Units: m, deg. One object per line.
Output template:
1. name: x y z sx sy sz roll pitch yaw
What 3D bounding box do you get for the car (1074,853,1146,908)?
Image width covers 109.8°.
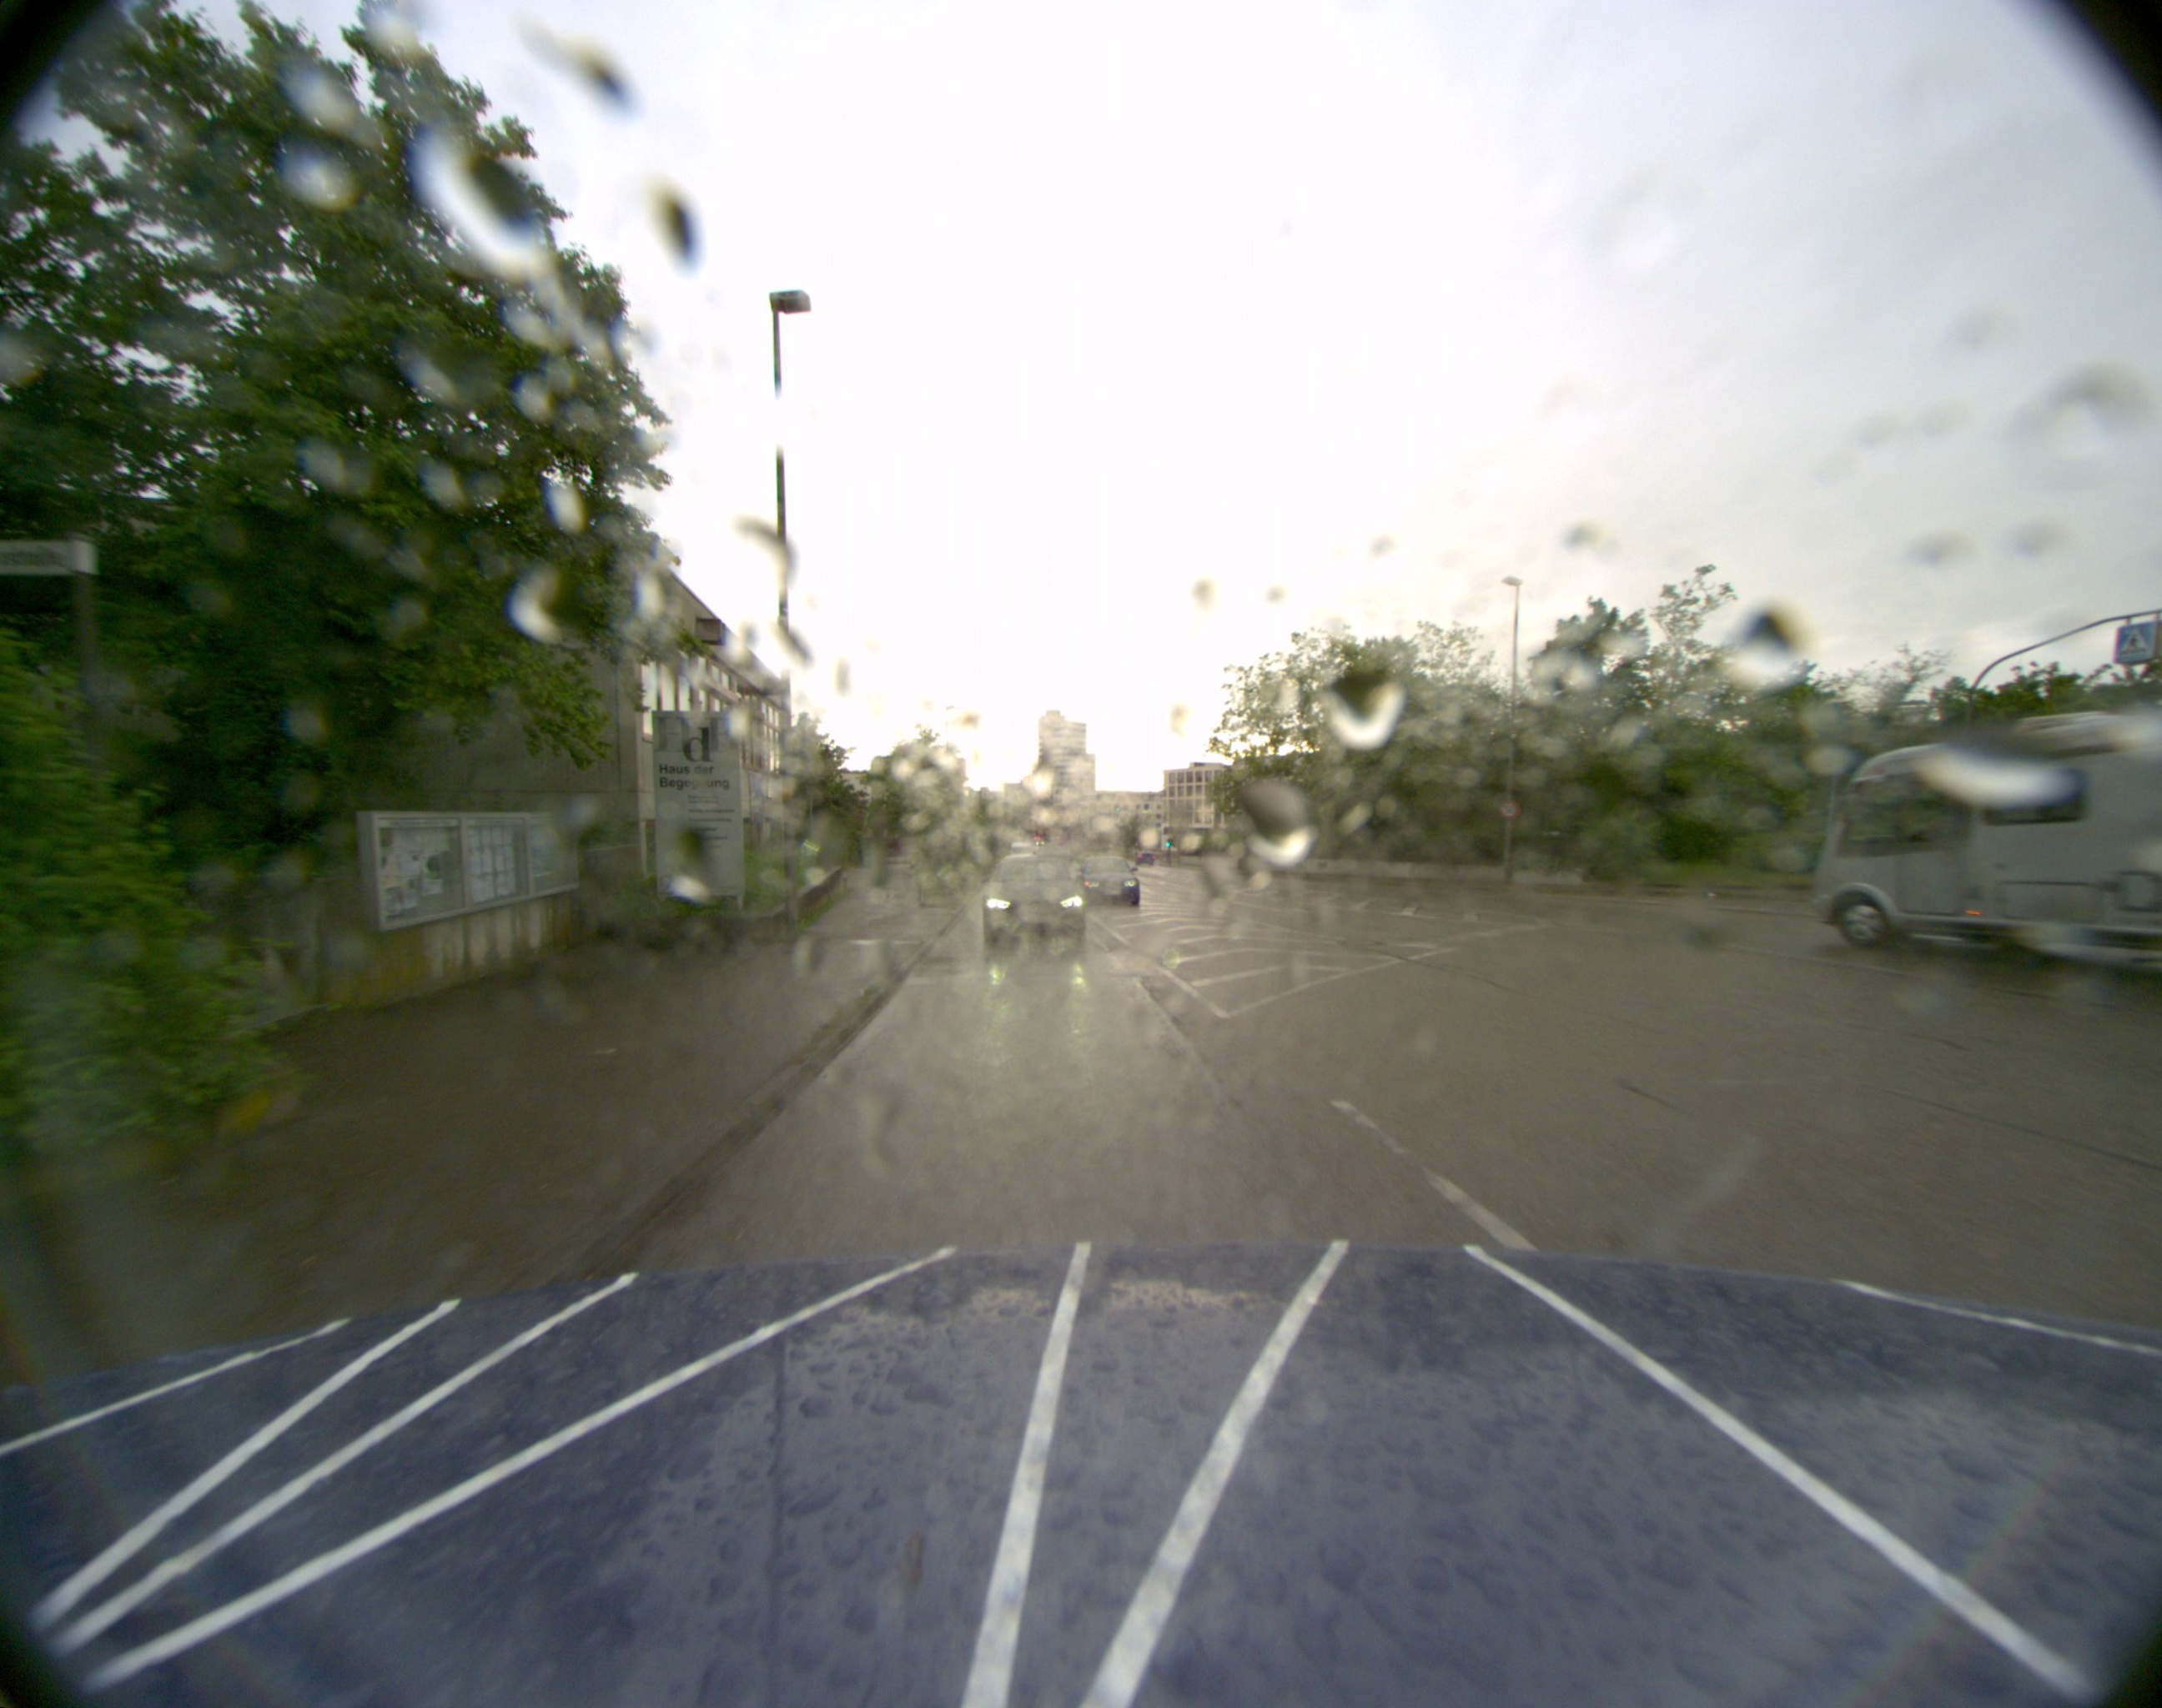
1. car: 0.780 0.722 23.311 1.790 1.339 4.942 -1 2 -2

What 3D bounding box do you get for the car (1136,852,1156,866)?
1. car: 7.409 0.512 87.220 1.818 1.506 3.998 0 1 -2

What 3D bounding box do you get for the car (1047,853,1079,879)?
1. car: -1.130 0.702 47.287 1.901 1.487 4.943 0 0 -2

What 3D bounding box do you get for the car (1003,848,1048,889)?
1. car: -2.806 0.651 37.385 1.901 1.650 4.940 -4 2 -7

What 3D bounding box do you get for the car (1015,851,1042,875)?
1. car: -3.925 0.639 57.106 1.901 1.713 4.462 -1 0 -3

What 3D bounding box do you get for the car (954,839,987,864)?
1. car: -8.286 -0.217 57.133 2.049 1.809 3.966 -1 1 -3

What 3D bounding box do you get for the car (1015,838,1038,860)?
1. car: -5.015 -0.401 69.578 2.031 1.925 4.942 -1 0 -5

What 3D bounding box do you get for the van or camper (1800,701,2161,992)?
1. van or camper: 11.017 -0.093 7.098 2.372 2.641 7.021 -1 1 5

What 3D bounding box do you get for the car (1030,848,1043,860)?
1. car: -7.281 -0.008 123.490 2.031 1.925 4.942 -1 0 -5

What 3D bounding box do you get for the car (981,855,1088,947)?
1. car: -0.924 0.819 15.714 1.838 1.505 4.846 -2 1 -3
